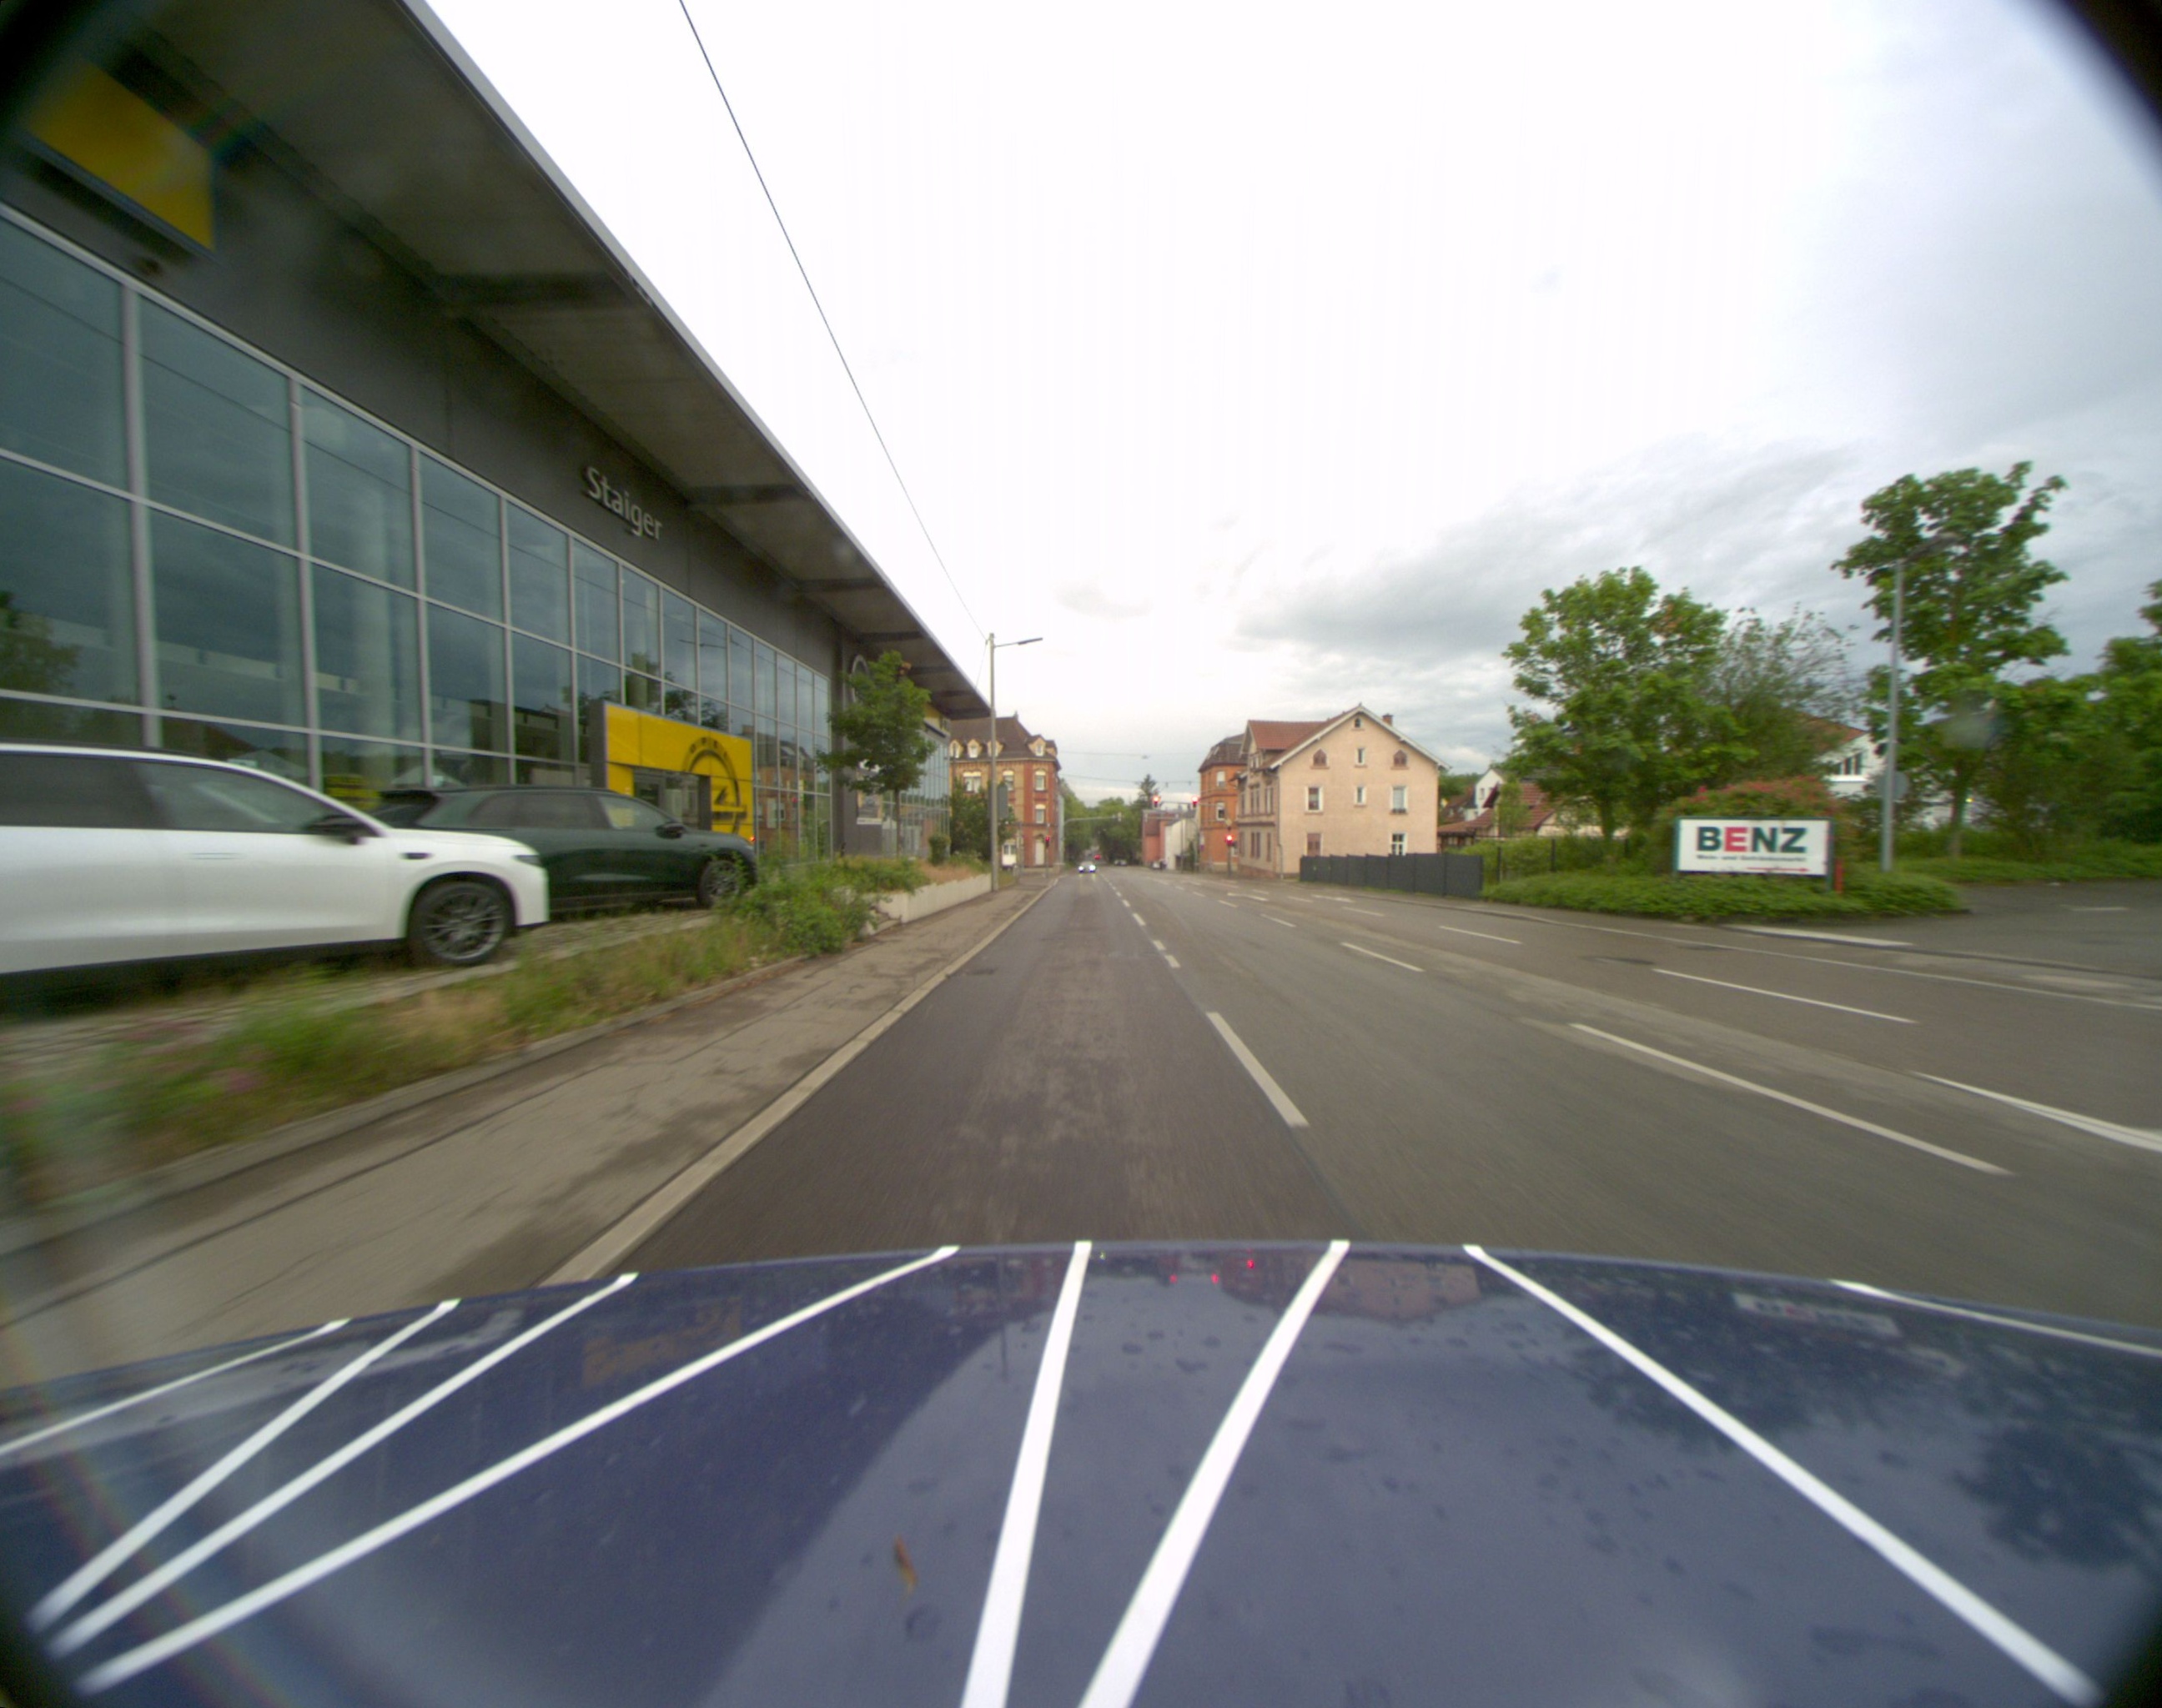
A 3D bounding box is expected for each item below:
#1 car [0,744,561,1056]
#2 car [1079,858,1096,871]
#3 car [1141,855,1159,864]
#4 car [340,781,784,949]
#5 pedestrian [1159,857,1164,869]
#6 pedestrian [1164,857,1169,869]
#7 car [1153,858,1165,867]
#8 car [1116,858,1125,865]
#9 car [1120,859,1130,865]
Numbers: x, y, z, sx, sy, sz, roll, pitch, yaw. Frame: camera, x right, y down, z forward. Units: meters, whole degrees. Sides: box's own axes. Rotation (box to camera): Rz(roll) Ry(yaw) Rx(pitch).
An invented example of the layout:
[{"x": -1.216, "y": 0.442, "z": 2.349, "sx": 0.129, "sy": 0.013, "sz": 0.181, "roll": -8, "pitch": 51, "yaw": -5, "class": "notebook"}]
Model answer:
[{"x": -6.519, "y": 0.216, "z": 5.131, "sx": 1.995, "sy": 1.701, "sz": 4.585, "roll": 2, "pitch": 2, "yaw": 24, "class": "car"}, {"x": 0.749, "y": 1.170, "z": 86.268, "sx": 1.842, "sy": 1.403, "sz": 4.000, "roll": 0, "pitch": 0, "yaw": 1, "class": "car"}, {"x": 16.679, "y": 1.331, "z": 183.626, "sx": 3.994, "sy": 2.002, "sz": 2.001, "roll": -1, "pitch": 1, "yaw": 8, "class": "car"}, {"x": -6.444, "y": 0.051, "z": 10.095, "sx": 1.994, "sy": 1.701, "sz": 4.436, "roll": 2, "pitch": 2, "yaw": 27, "class": "car"}, {"x": 12.129, "y": 1.379, "z": 114.471, "sx": 0.642, "sy": 1.696, "sz": 0.911, "roll": -1, "pitch": 0, "yaw": 2, "class": "pedestrian"}, {"x": 12.899, "y": 1.362, "z": 114.446, "sx": 0.642, "sy": 1.696, "sz": 0.911, "roll": -1, "pitch": 0, "yaw": 2, "class": "pedestrian"}, {"x": 13.749, "y": 1.430, "z": 134.383, "sx": 1.749, "sy": 1.499, "sz": 4.178, "roll": 0, "pitch": 0, "yaw": 1, "class": "car"}, {"x": 9.300, "y": 1.666, "z": 177.618, "sx": 1.816, "sy": 1.537, "sz": 4.198, "roll": 3, "pitch": 0, "yaw": 1, "class": "car"}, {"x": 9.630, "y": 1.733, "z": 166.134, "sx": 1.789, "sy": 1.402, "sz": 4.197, "roll": 2, "pitch": 0, "yaw": -2, "class": "car"}]
